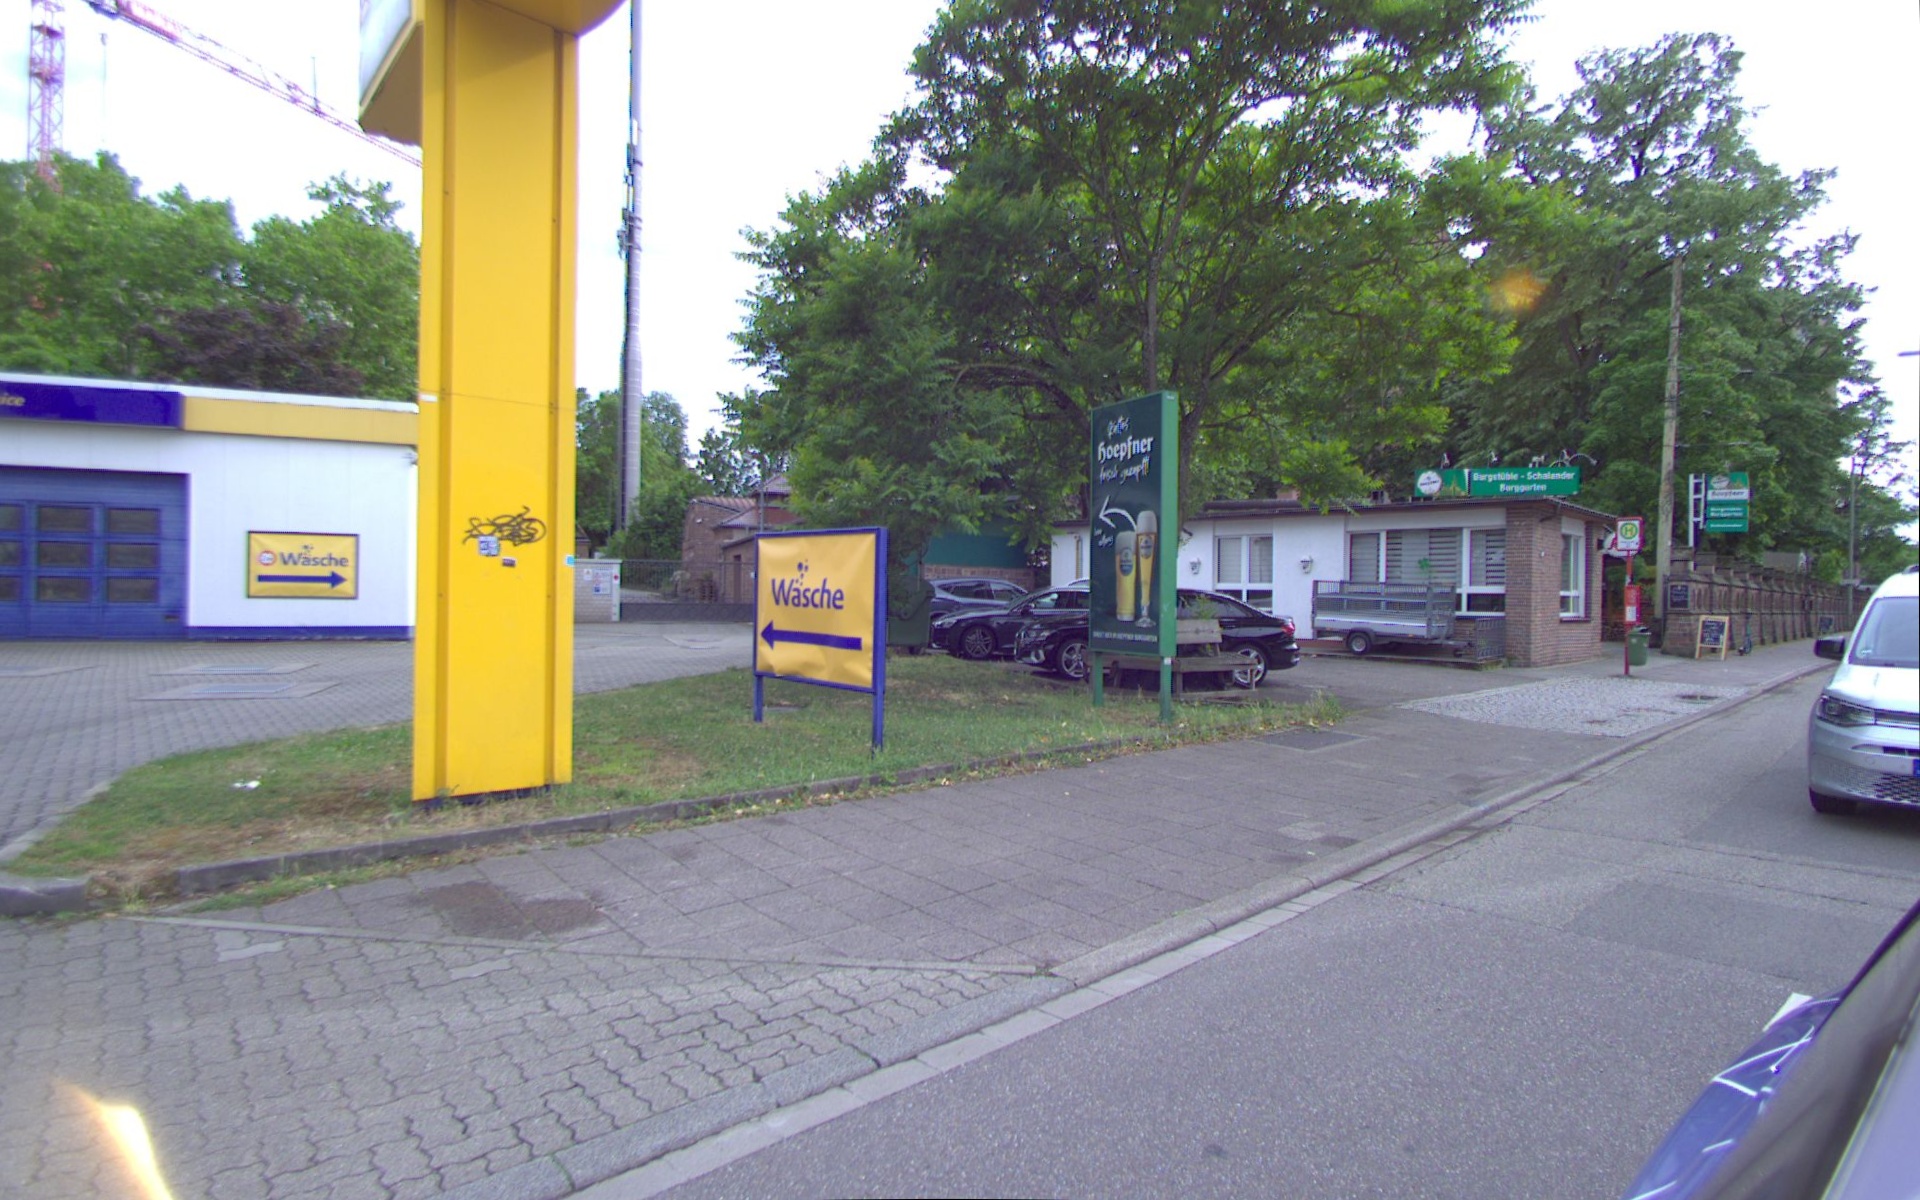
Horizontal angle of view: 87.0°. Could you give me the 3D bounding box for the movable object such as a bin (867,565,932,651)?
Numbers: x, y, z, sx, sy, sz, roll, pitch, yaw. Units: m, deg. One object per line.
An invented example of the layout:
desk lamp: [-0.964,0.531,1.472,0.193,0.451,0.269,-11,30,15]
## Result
movable object such as a bin: [-1.130,0.160,18.888,1.102,1.510,1.295,3,-2,-4]

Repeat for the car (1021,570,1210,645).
car: [3.712,0.141,24.790,1.955,1.667,4.434,0,1,-39]

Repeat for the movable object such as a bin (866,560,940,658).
movable object such as a bin: [-0.985,0.152,17.522,1.102,1.533,1.422,5,-1,-3]

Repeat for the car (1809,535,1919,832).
car: [8.006,0.549,7.568,4.851,1.830,1.848,1,1,-42]

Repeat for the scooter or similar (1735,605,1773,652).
scooter or similar: [22.357,0.778,28.484,1.386,1.254,0.577,0,4,-44]

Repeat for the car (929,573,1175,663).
car: [1.657,0.304,19.466,4.454,1.444,1.880,2,3,-2]

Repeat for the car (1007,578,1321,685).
car: [3.062,0.453,15.957,4.497,1.425,1.935,2,1,0]

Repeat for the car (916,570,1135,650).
car: [1.335,0.210,21.912,4.401,1.477,1.988,2,0,-5]

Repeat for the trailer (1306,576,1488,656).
trailer: [9.169,0.277,21.373,1.594,1.558,3.165,0,1,-43]
